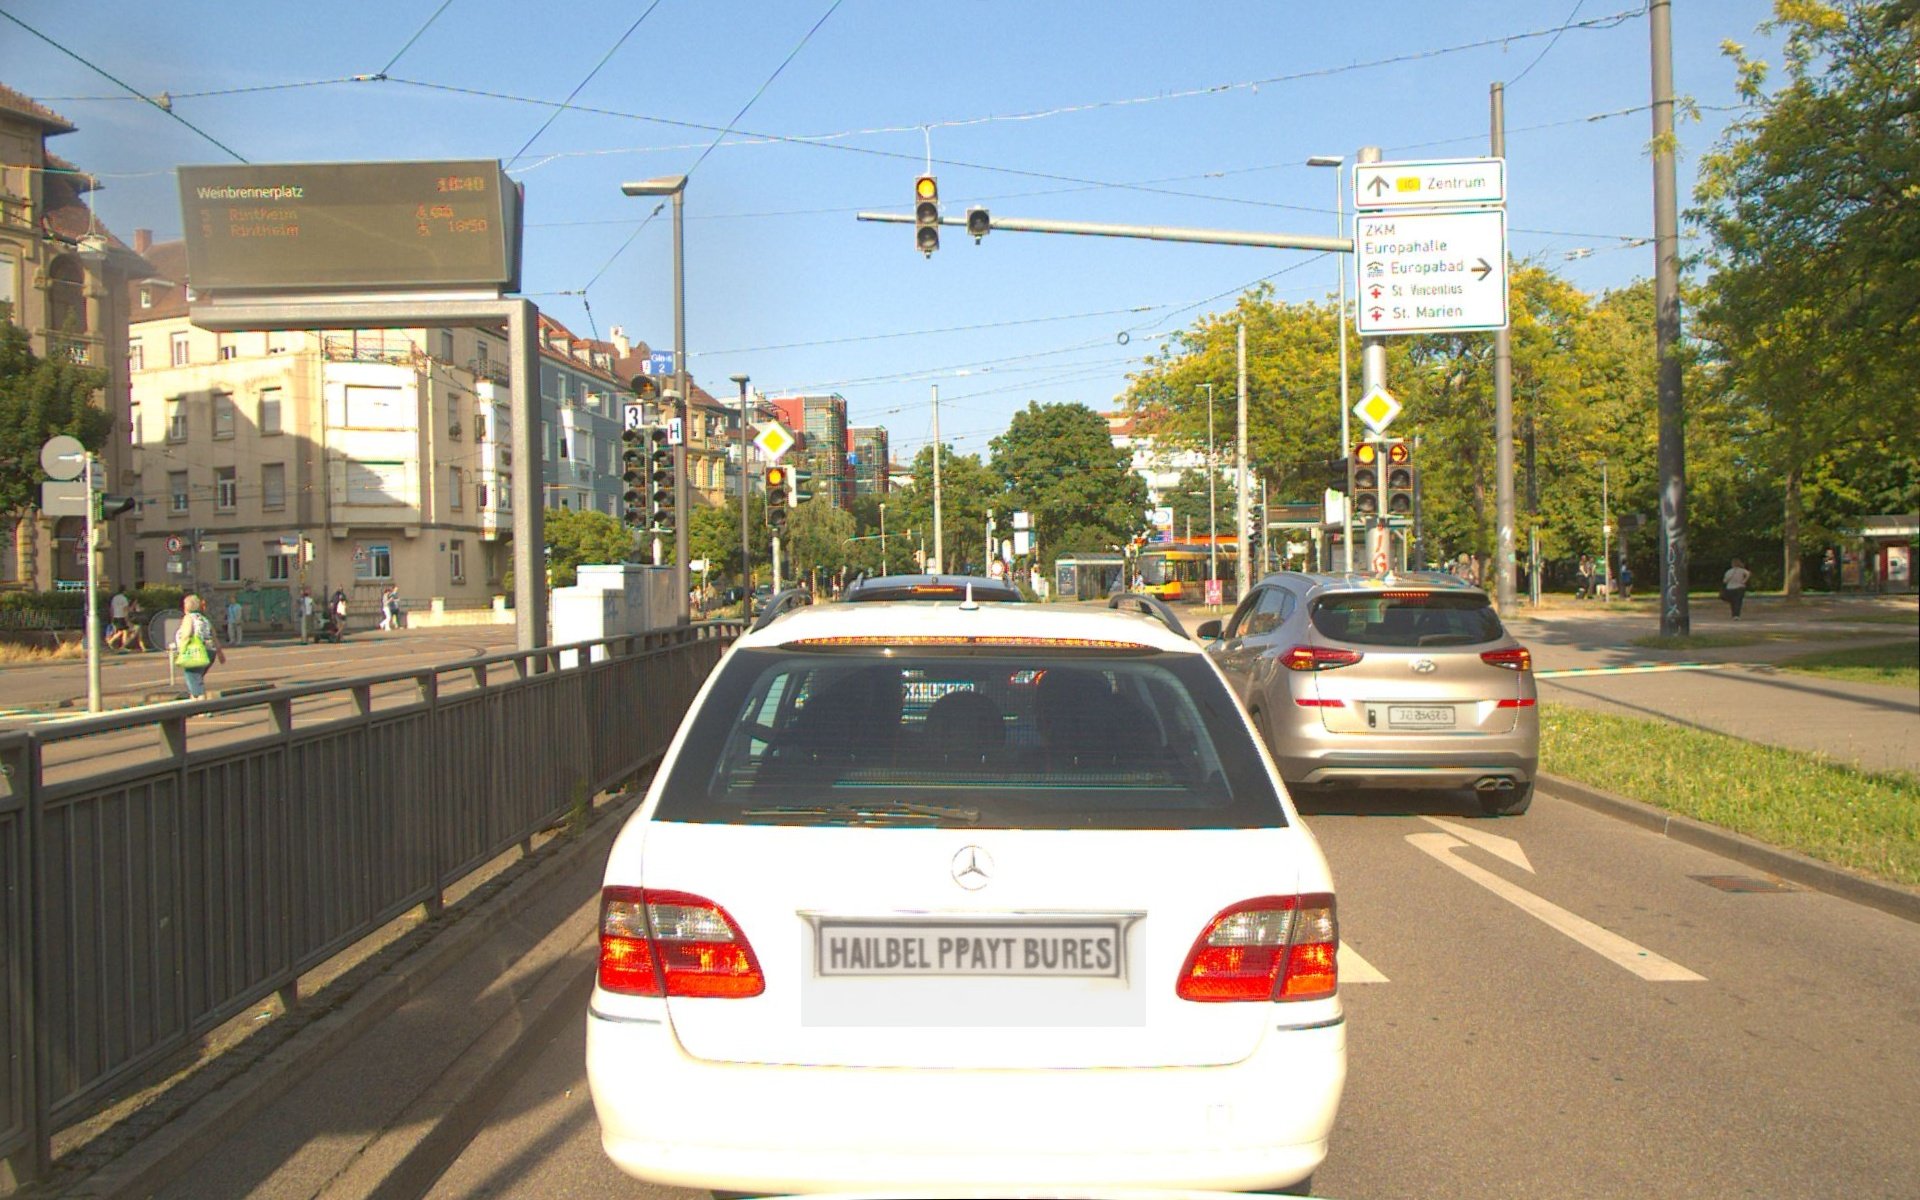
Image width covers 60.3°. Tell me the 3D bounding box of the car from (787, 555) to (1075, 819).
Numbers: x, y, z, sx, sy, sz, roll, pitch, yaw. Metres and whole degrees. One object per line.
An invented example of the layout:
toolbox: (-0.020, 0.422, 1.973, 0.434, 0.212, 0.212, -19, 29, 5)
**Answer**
car: (-0.208, 0.553, 12.540, 1.846, 1.680, 3.647, 1, 0, -1)

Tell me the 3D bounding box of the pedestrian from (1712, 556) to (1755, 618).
pedestrian: (21.039, -0.347, 44.985, 0.748, 1.665, 0.797, -2, 0, -40)

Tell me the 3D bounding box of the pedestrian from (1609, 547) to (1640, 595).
pedestrian: (25.879, -1.122, 64.416, 0.784, 1.816, 0.838, -1, 0, -5)

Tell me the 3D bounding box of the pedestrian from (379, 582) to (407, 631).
pedestrian: (-23.930, 0.273, 69.795, 0.758, 2.049, 0.787, -1, 0, 14)

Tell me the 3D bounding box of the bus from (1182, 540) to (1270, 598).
bus: (18.316, -2.020, 112.933, 3.046, 3.669, 12.587, 1, 0, 23)

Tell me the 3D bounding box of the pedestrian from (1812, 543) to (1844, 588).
pedestrian: (33.426, -1.324, 63.720, 0.818, 1.665, 0.803, -1, 0, 5)

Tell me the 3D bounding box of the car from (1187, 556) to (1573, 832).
car: (2.890, 0.574, 12.205, 1.846, 1.680, 3.647, -2, 0, -1)

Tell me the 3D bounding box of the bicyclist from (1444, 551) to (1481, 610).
bicyclist: (11.304, -0.440, 37.234, 0.523, 1.284, 0.869, -1, 0, -1)

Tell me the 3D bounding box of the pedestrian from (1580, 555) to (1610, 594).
pedestrian: (24.861, -0.992, 64.756, 0.799, 1.513, 0.699, -1, 0, -12)

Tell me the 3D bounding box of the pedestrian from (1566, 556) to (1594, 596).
pedestrian: (24.053, -0.926, 64.135, 0.809, 1.513, 0.690, -2, 0, -42)

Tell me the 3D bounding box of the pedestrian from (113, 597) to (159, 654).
pedestrian: (-23.259, 0.707, 46.707, 0.812, 1.579, 0.782, -1, 0, 21)

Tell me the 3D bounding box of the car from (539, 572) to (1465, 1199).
car: (0.051, 0.684, 4.967, 1.759, 1.496, 3.647, 0, 0, -1)

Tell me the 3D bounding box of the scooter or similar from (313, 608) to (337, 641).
scooter or similar: (-20.998, 0.804, 54.722, 0.532, 1.098, 0.683, 1, 0, -1)

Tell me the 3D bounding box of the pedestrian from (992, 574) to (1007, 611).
pedestrian: (2.068, -0.388, 86.824, 0.628, 1.889, 0.552, -1, 0, 11)

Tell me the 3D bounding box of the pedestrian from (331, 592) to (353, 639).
pedestrian: (-20.265, 0.493, 54.238, 0.428, 1.527, 0.549, -1, 0, 14)

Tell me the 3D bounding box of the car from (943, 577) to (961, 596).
car: (-0.869, -1.456, 178.742, 1.953, 2.049, 3.999, 1, 0, -1)

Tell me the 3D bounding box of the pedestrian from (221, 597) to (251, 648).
pedestrian: (-22.716, 0.701, 51.898, 0.616, 1.568, 0.711, -1, 0, -1)

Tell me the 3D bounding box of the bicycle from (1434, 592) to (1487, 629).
bicycle: (11.297, 0.227, 37.395, 0.485, 0.770, 2.168, -2, 0, -1)

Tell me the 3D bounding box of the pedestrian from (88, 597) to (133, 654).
pedestrian: (-24.153, 0.723, 47.037, 0.812, 1.579, 0.782, -1, 0, 21)

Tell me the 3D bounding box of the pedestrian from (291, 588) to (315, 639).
pedestrian: (-21.415, 0.435, 53.953, 0.497, 1.654, 0.608, -1, 0, 0)

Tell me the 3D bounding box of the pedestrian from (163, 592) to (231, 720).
pedestrian: (-9.961, 0.714, 21.600, 0.601, 1.627, 0.632, -1, 0, -7)

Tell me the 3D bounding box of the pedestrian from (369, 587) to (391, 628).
pedestrian: (-24.197, 0.323, 68.961, 0.606, 1.689, 0.586, -1, 0, 14)

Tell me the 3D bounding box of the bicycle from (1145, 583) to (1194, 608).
bicycle: (10.751, -0.218, 84.913, 2.430, 1.234, 0.807, -1, 0, 7)

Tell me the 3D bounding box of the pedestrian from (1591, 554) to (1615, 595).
pedestrian: (24.601, -0.972, 63.240, 0.797, 1.513, 0.700, -1, 0, 24)

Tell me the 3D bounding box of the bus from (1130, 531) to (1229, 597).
bus: (13.600, -2.102, 101.333, 3.045, 3.669, 12.373, 1, 0, 22)

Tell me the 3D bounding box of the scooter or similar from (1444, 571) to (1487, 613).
scooter or similar: (13.984, -0.225, 45.797, 0.413, 1.136, 1.322, -1, 0, -20)
